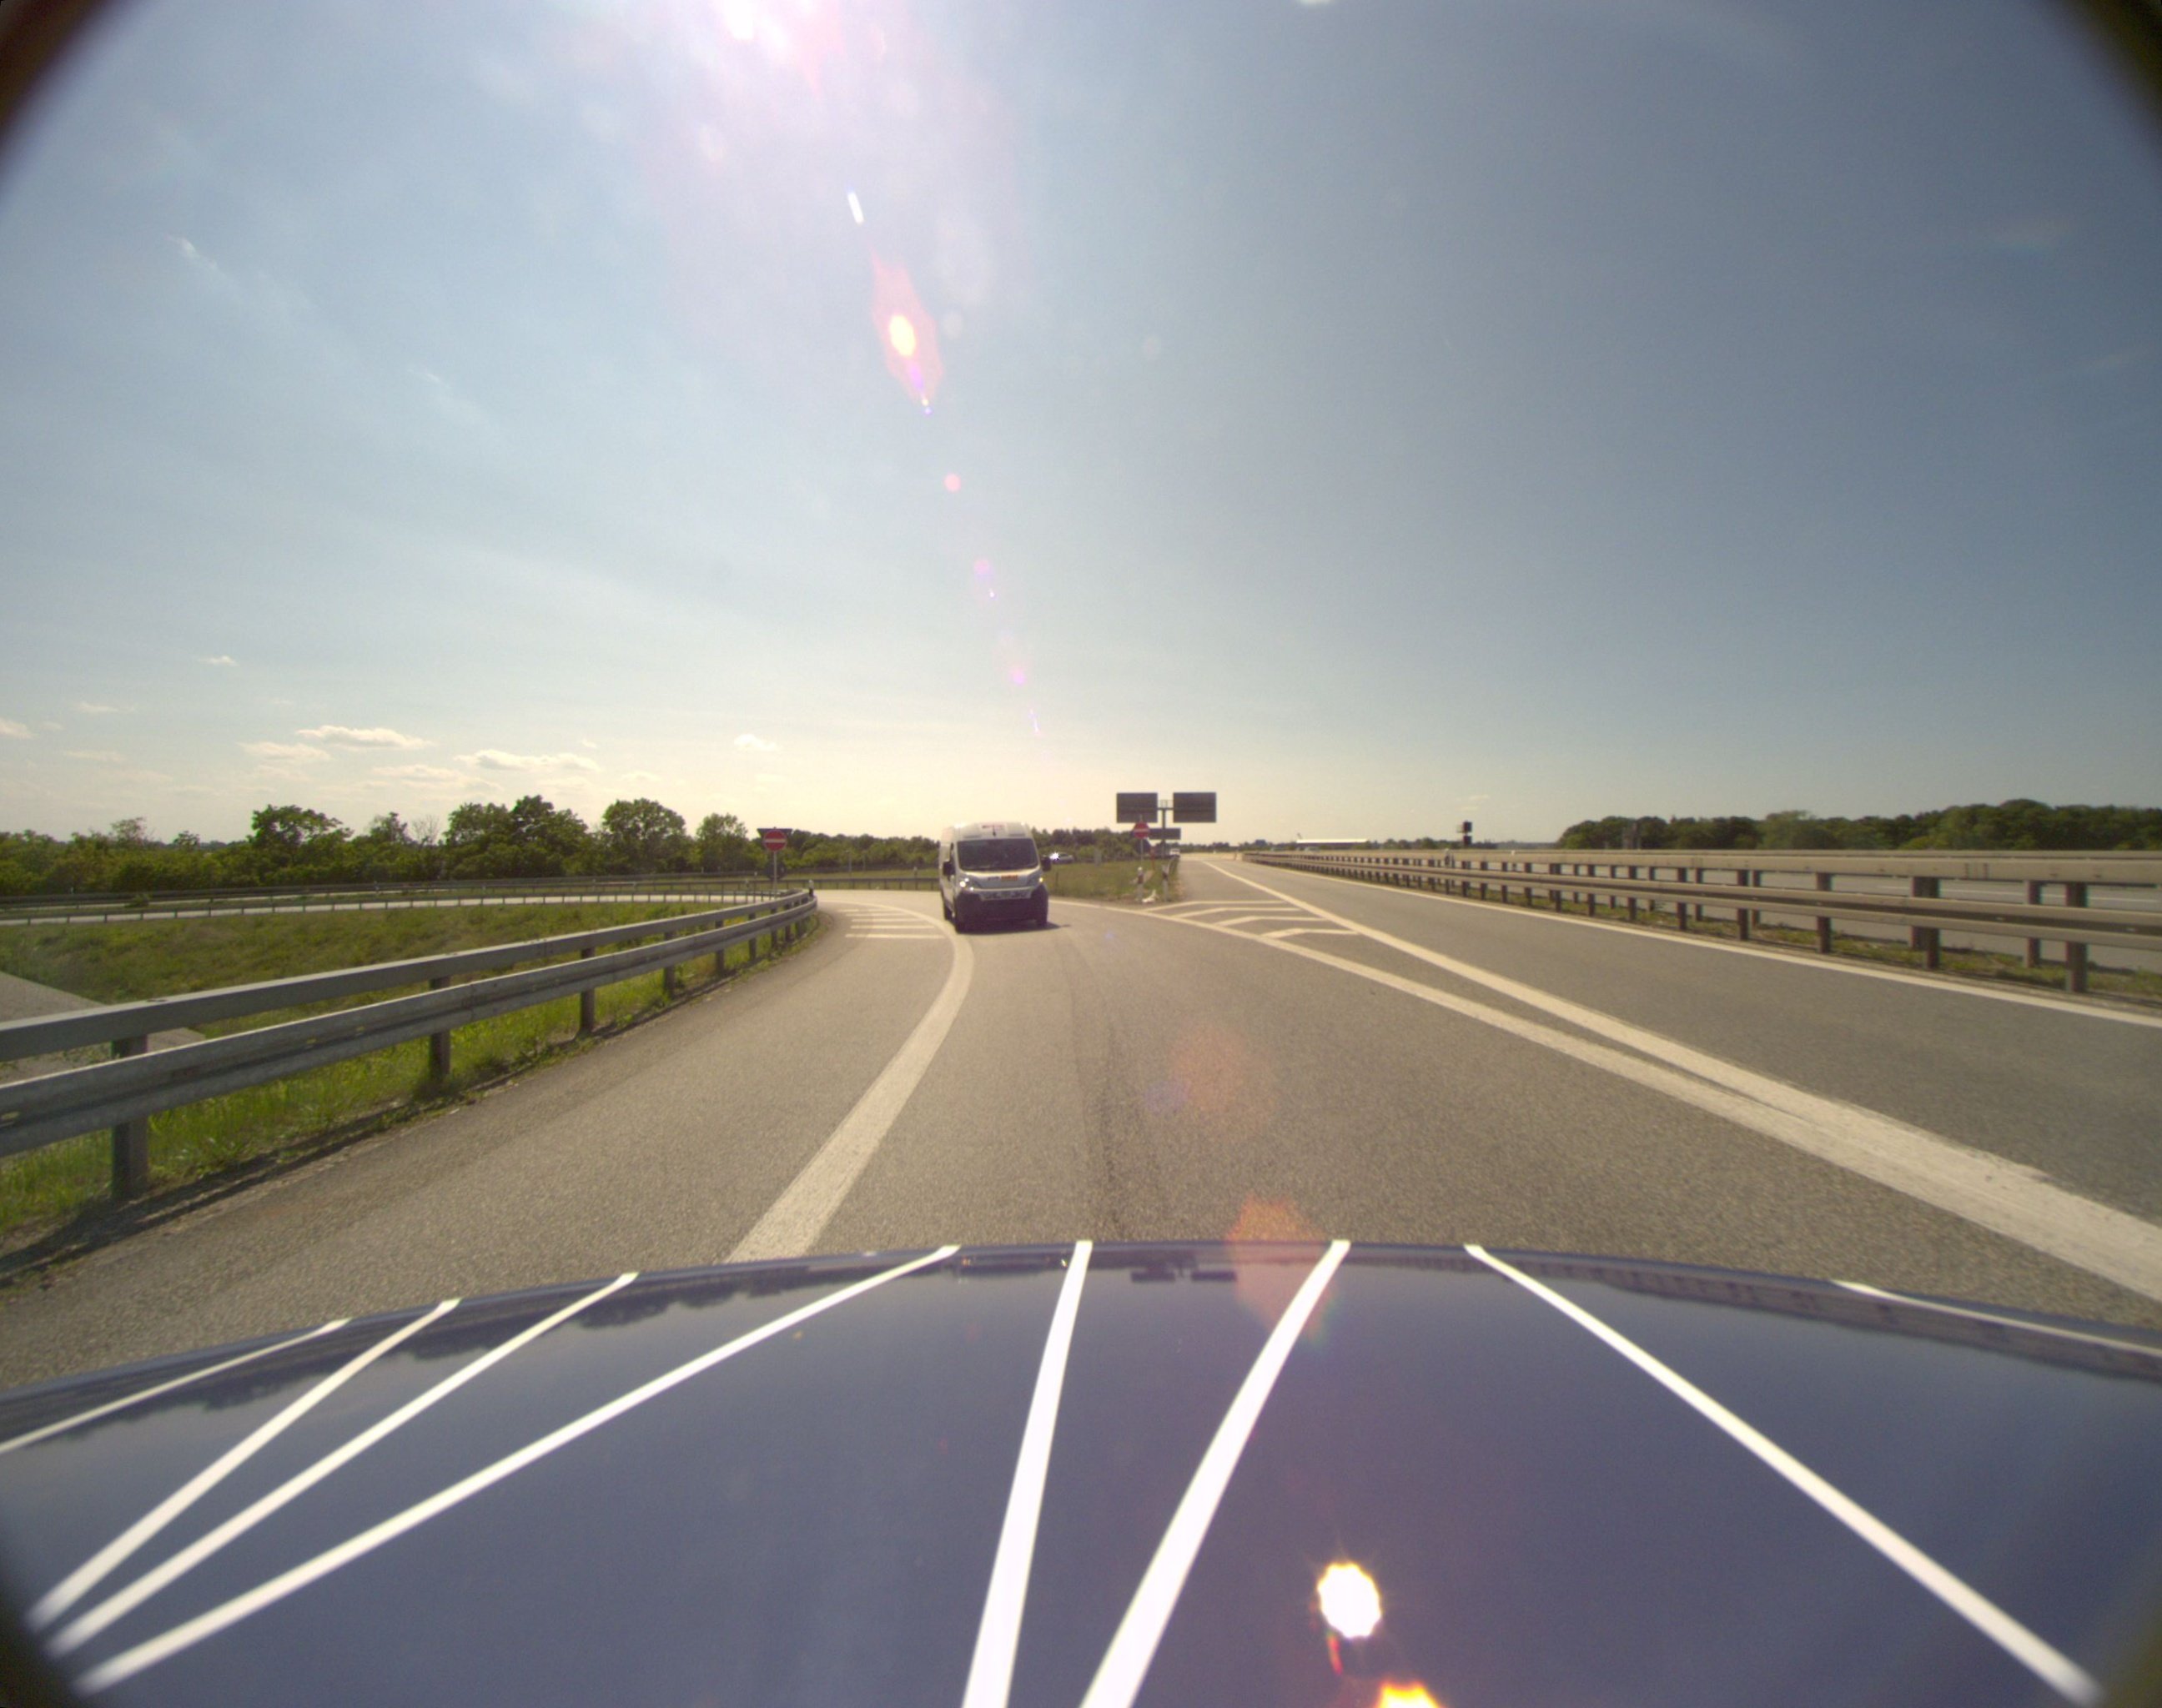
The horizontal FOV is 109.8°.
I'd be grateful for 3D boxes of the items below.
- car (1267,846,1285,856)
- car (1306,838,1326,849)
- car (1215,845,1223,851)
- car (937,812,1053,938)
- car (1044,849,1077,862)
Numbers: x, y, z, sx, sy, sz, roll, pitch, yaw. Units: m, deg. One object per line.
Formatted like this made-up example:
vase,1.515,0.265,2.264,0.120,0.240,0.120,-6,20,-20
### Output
car,28.179,-0.435,109.931,1.833,1.424,4.217,-1,1,4
car,31.978,-1.475,103.454,1.766,1.414,4.217,-1,1,5
car,40.913,-1.798,225.760,1.842,1.509,4.576,-1,1,5
car,-2.366,0.457,19.004,2.089,2.509,6.230,-4,0,-12
car,-2.765,0.182,103.526,4.307,1.499,1.994,-3,1,-44
